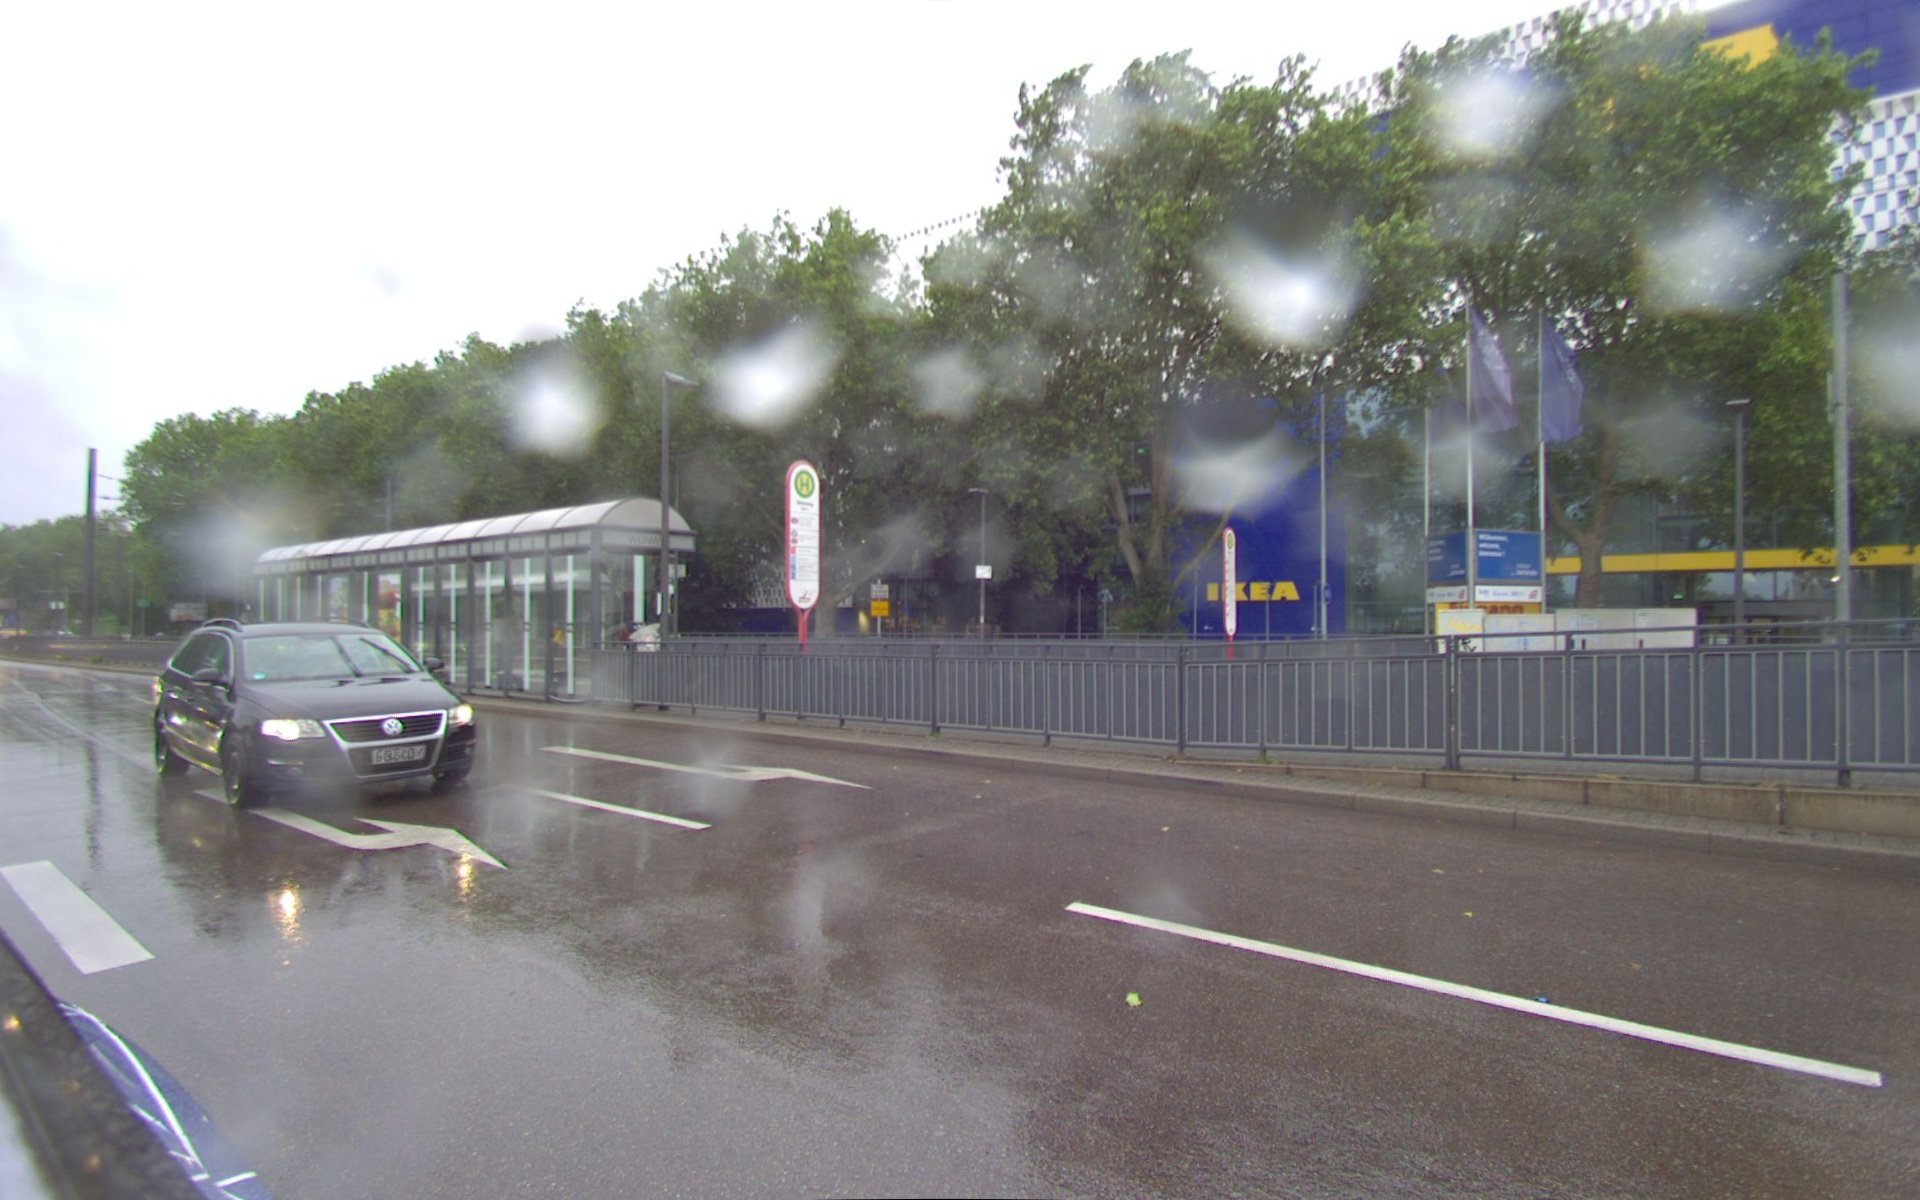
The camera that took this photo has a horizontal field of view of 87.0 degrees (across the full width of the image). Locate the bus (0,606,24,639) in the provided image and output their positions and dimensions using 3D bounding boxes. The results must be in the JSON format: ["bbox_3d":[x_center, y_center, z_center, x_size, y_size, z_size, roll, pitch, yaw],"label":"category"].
[{"bbox_3d":[-104.311,2.368,108.198,15.022,3.354,2.907,-1,0,34],"label":"bus"}]

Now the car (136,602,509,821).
[{"bbox_3d":[-6.016,0.806,9.283,4.596,1.512,1.752,-1,0,43],"label":"car"}]
